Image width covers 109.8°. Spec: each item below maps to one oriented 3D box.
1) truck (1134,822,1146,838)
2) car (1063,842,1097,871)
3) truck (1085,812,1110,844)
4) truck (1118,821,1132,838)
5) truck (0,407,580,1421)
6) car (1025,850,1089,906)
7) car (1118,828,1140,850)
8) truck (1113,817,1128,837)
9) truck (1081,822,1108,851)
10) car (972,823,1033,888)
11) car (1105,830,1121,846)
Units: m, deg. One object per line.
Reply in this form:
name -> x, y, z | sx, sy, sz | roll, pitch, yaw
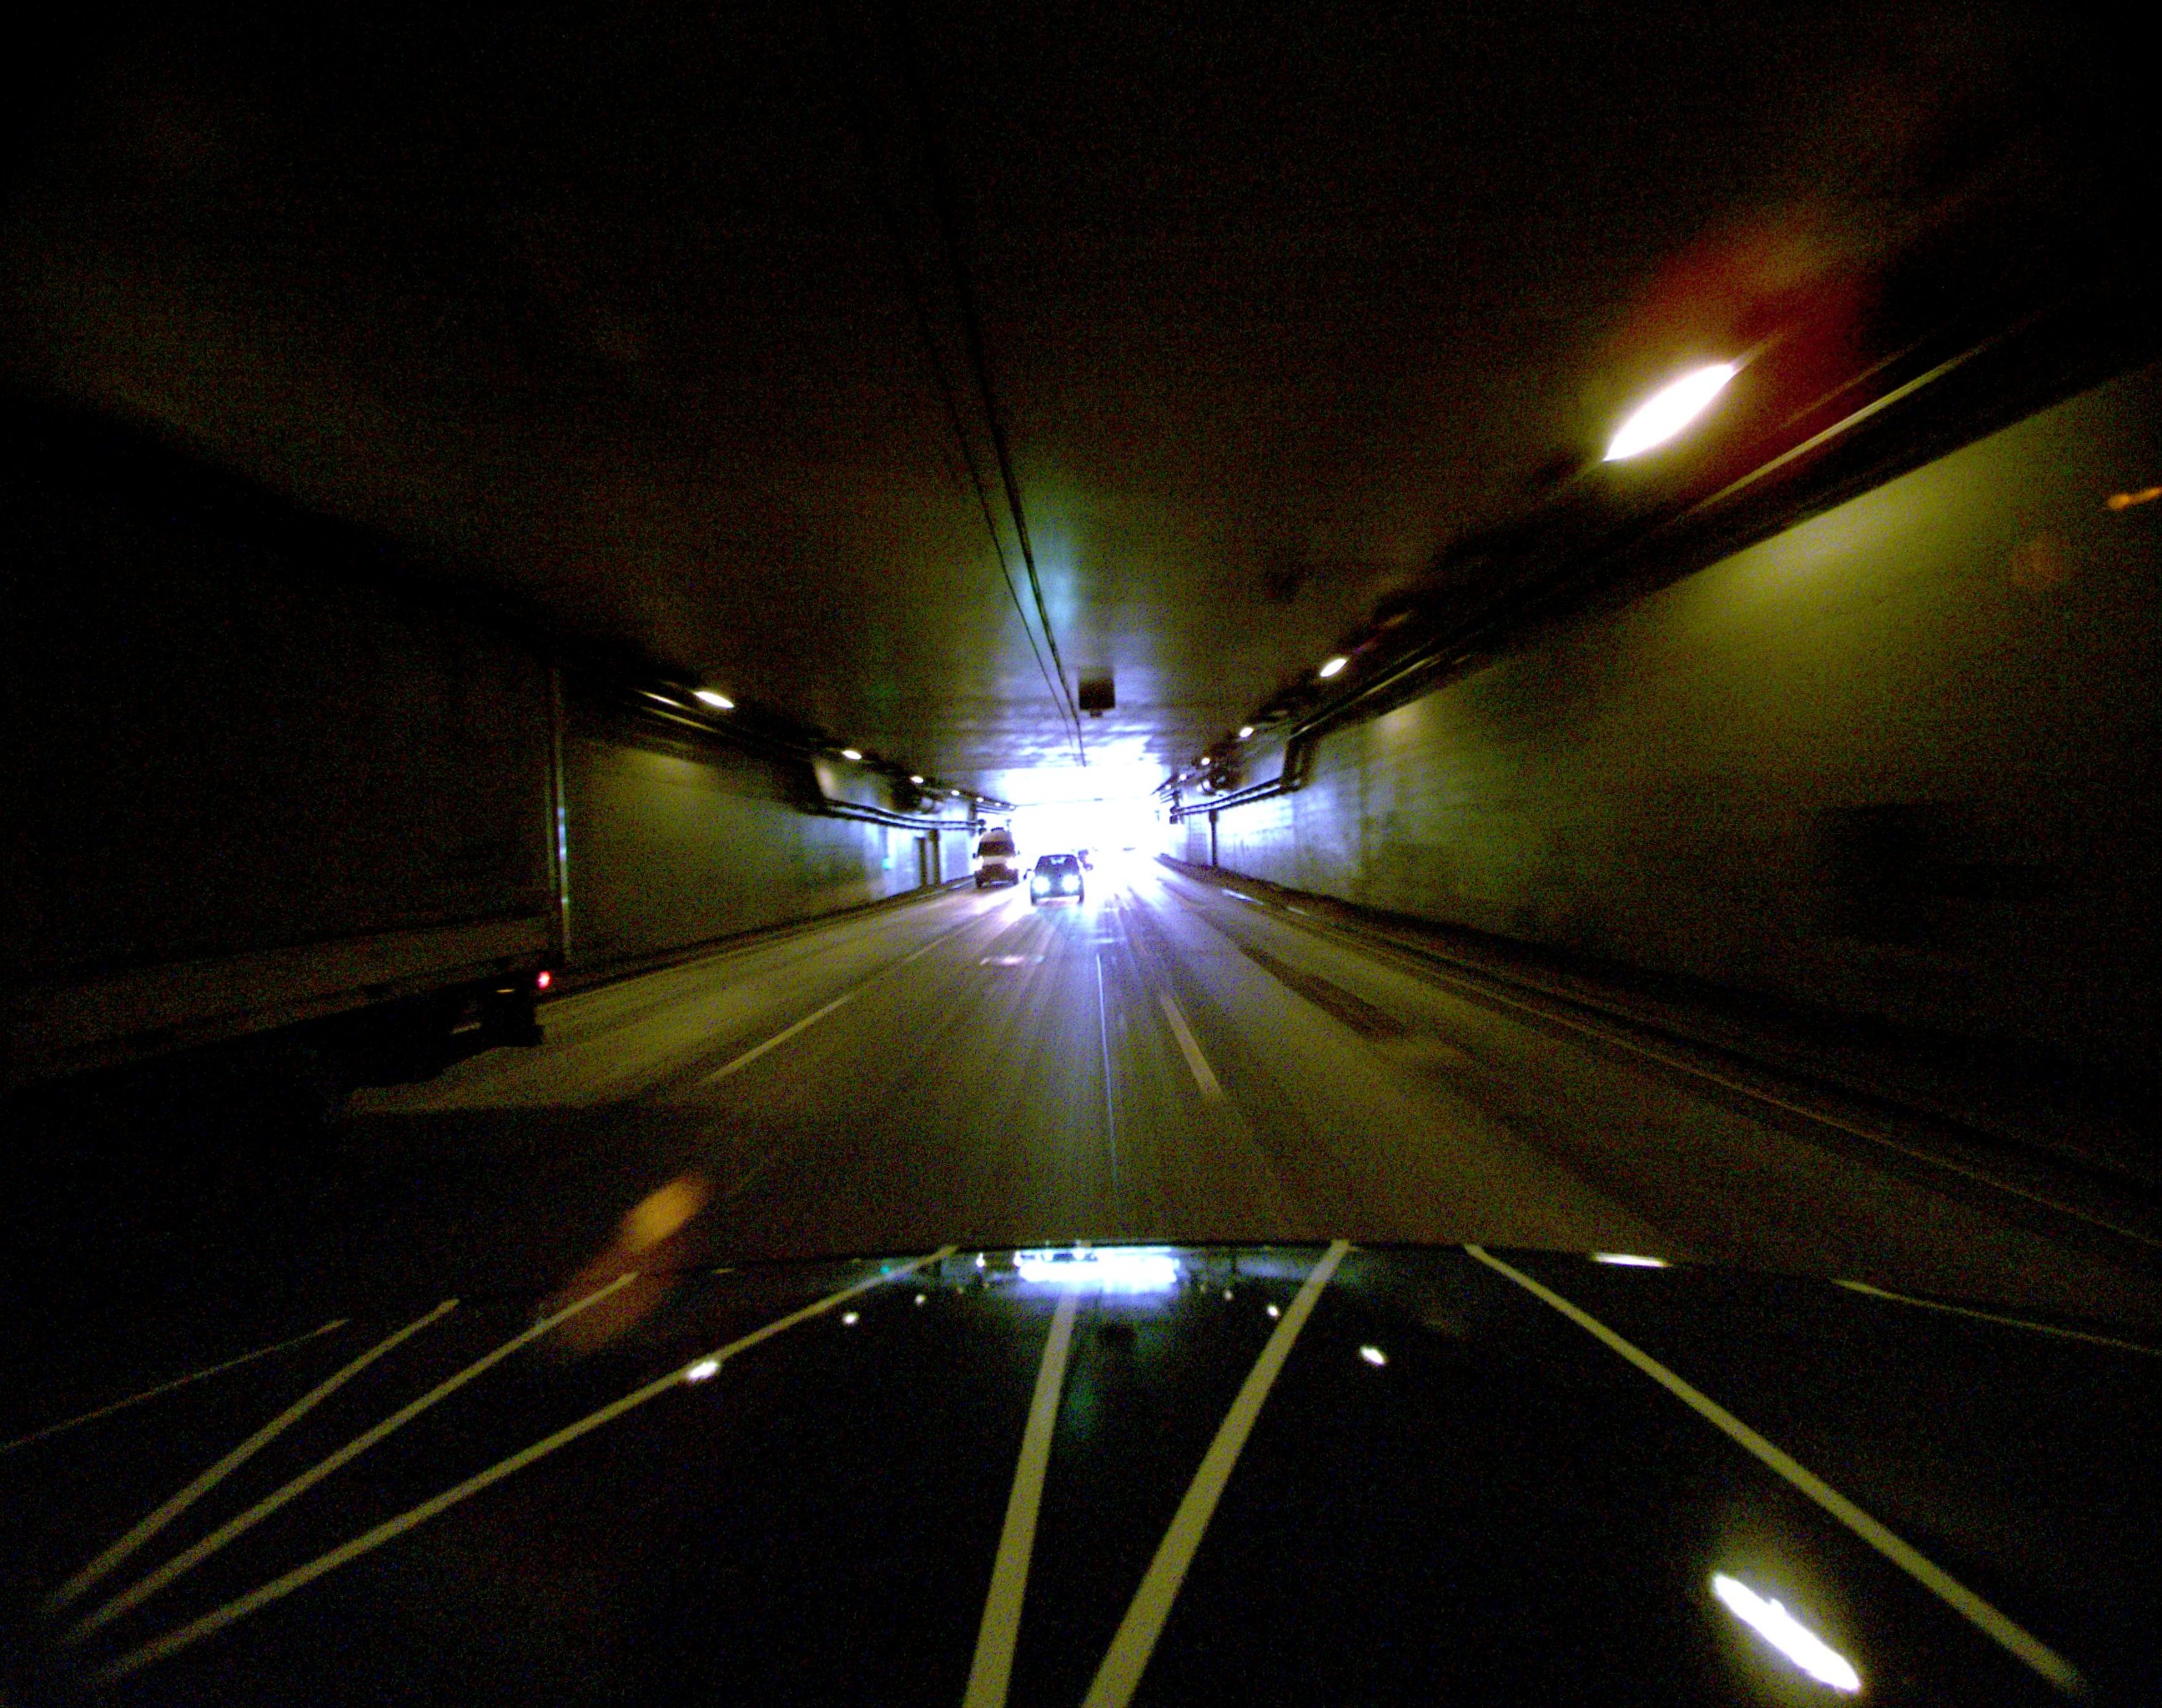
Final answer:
truck -> 11.212, -4.669, 145.068 | 2.138, 2.713, 5.669 | -4, 3, 4
car -> -0.010, 0.146, 46.513 | 1.764, 1.552, 3.819 | -5, 0, 2
truck -> 2.577, -4.005, 115.217 | 2.886, 4.448, 10.452 | -4, 3, 5
truck -> 8.932, -5.064, 154.104 | 2.493, 3.122, 6.374 | -4, 3, 4
truck -> -4.635, 0.209, 1.455 | 2.560, 3.163, 7.243 | -1, 1, -1
car -> -0.682, 0.697, 24.345 | 1.639, 1.552, 3.717 | -3, 1, 4
car -> 4.539, -1.443, 71.726 | 1.935, 1.919, 4.196 | -4, 2, 4
truck -> 7.464, -5.137, 143.143 | 2.493, 3.370, 6.374 | -4, 3, 4
truck -> 1.320, -1.735, 73.245 | 2.073, 2.526, 6.022 | -4, 3, 5
car -> -3.788, -0.041, 37.838 | 2.106, 2.831, 6.858 | -3, 2, 1
car -> 3.810, -1.907, 90.366 | 1.639, 1.662, 3.715 | -4, 3, 4
